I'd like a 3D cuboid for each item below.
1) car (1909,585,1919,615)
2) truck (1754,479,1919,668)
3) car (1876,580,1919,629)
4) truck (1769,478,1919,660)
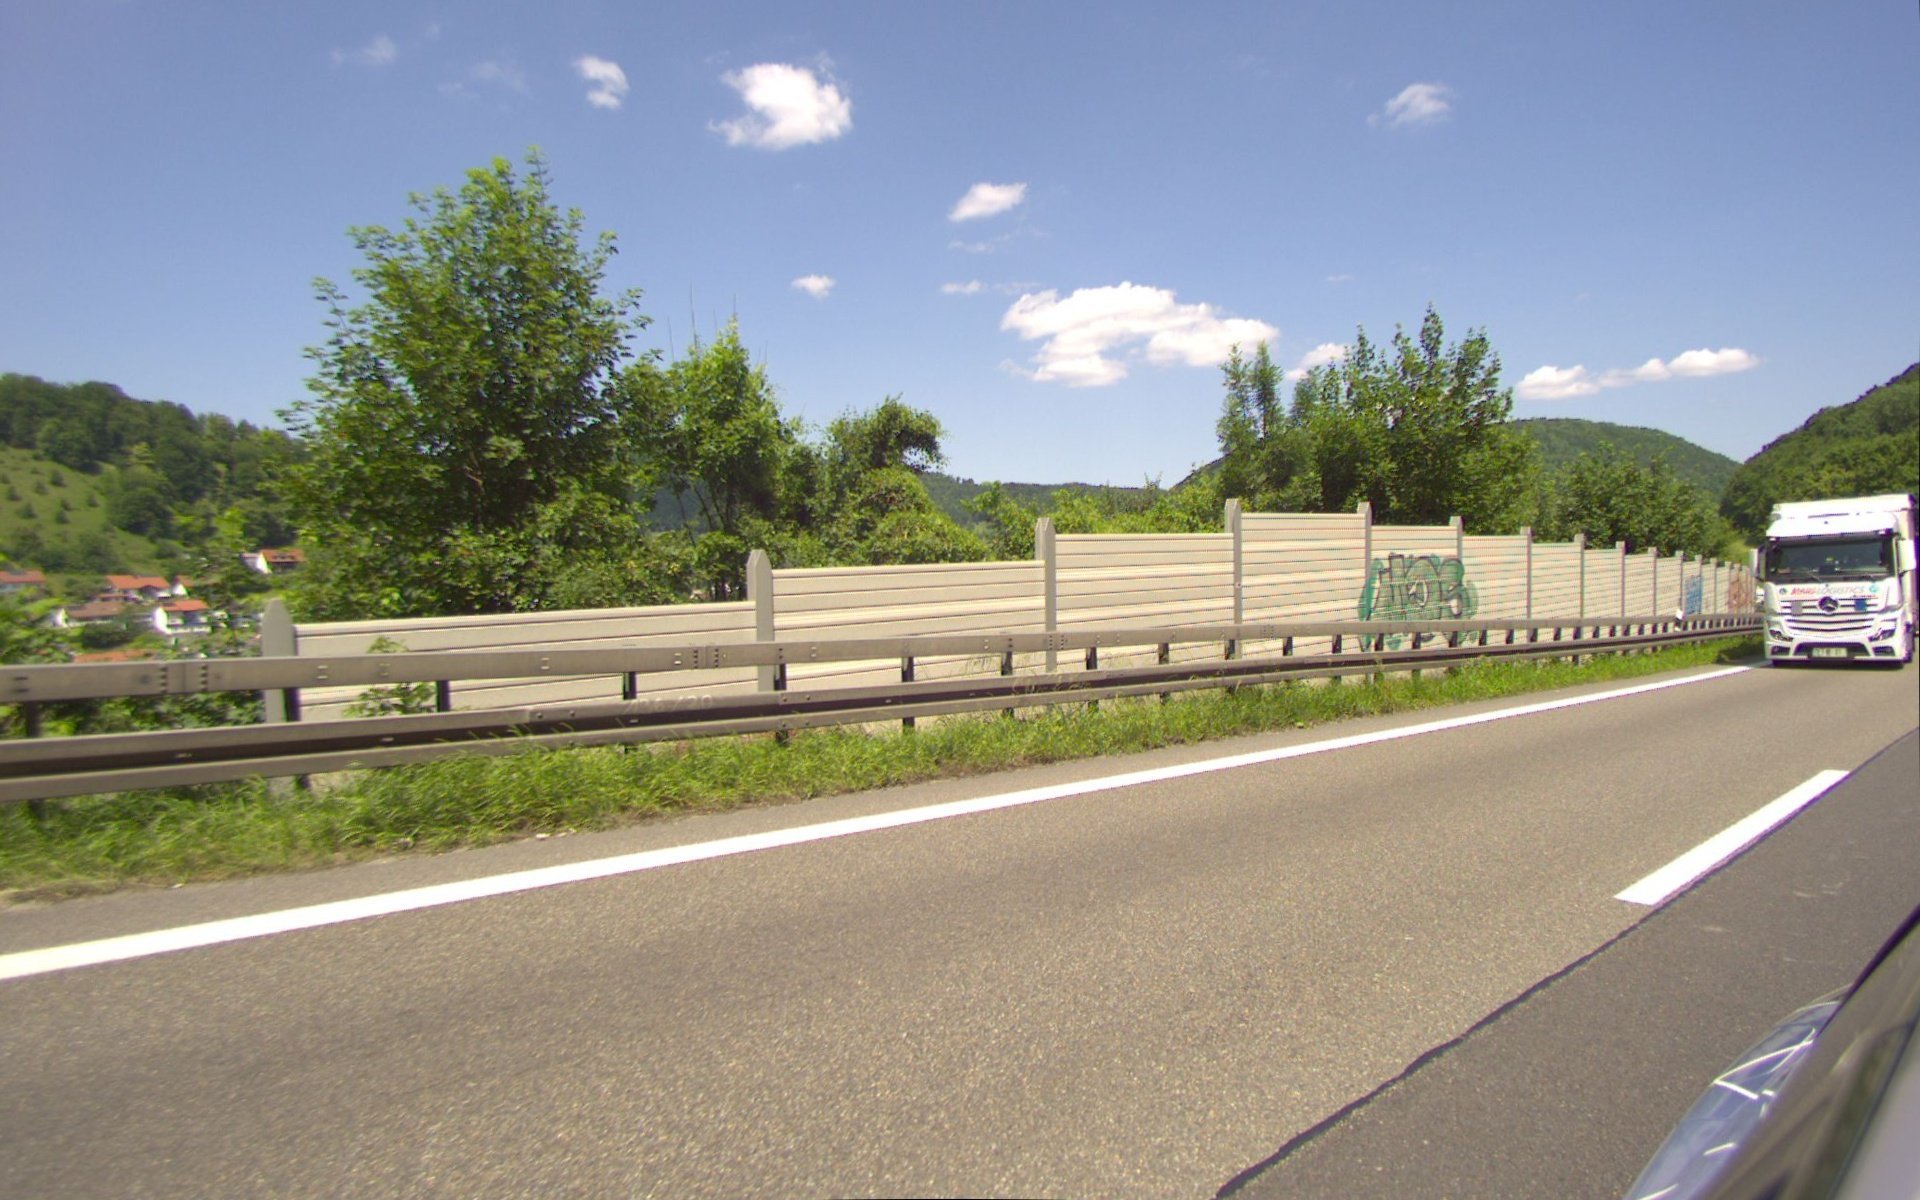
[{"bbox_3d":[65.546,-0.006,68.290,1.991,2.039,3.941,0,0,40],"label":"car"},{"bbox_3d":[22.171,-0.599,25.166,6.712,4.090,2.758,-2,-2,-44],"label":"truck"},{"bbox_3d":[41.862,0.163,44.546,3.934,2.039,1.995,-2,1,-43],"label":"car"},{"bbox_3d":[25.559,-0.763,28.531,11.850,4.200,2.855,-1,-1,-45],"label":"truck"}]
